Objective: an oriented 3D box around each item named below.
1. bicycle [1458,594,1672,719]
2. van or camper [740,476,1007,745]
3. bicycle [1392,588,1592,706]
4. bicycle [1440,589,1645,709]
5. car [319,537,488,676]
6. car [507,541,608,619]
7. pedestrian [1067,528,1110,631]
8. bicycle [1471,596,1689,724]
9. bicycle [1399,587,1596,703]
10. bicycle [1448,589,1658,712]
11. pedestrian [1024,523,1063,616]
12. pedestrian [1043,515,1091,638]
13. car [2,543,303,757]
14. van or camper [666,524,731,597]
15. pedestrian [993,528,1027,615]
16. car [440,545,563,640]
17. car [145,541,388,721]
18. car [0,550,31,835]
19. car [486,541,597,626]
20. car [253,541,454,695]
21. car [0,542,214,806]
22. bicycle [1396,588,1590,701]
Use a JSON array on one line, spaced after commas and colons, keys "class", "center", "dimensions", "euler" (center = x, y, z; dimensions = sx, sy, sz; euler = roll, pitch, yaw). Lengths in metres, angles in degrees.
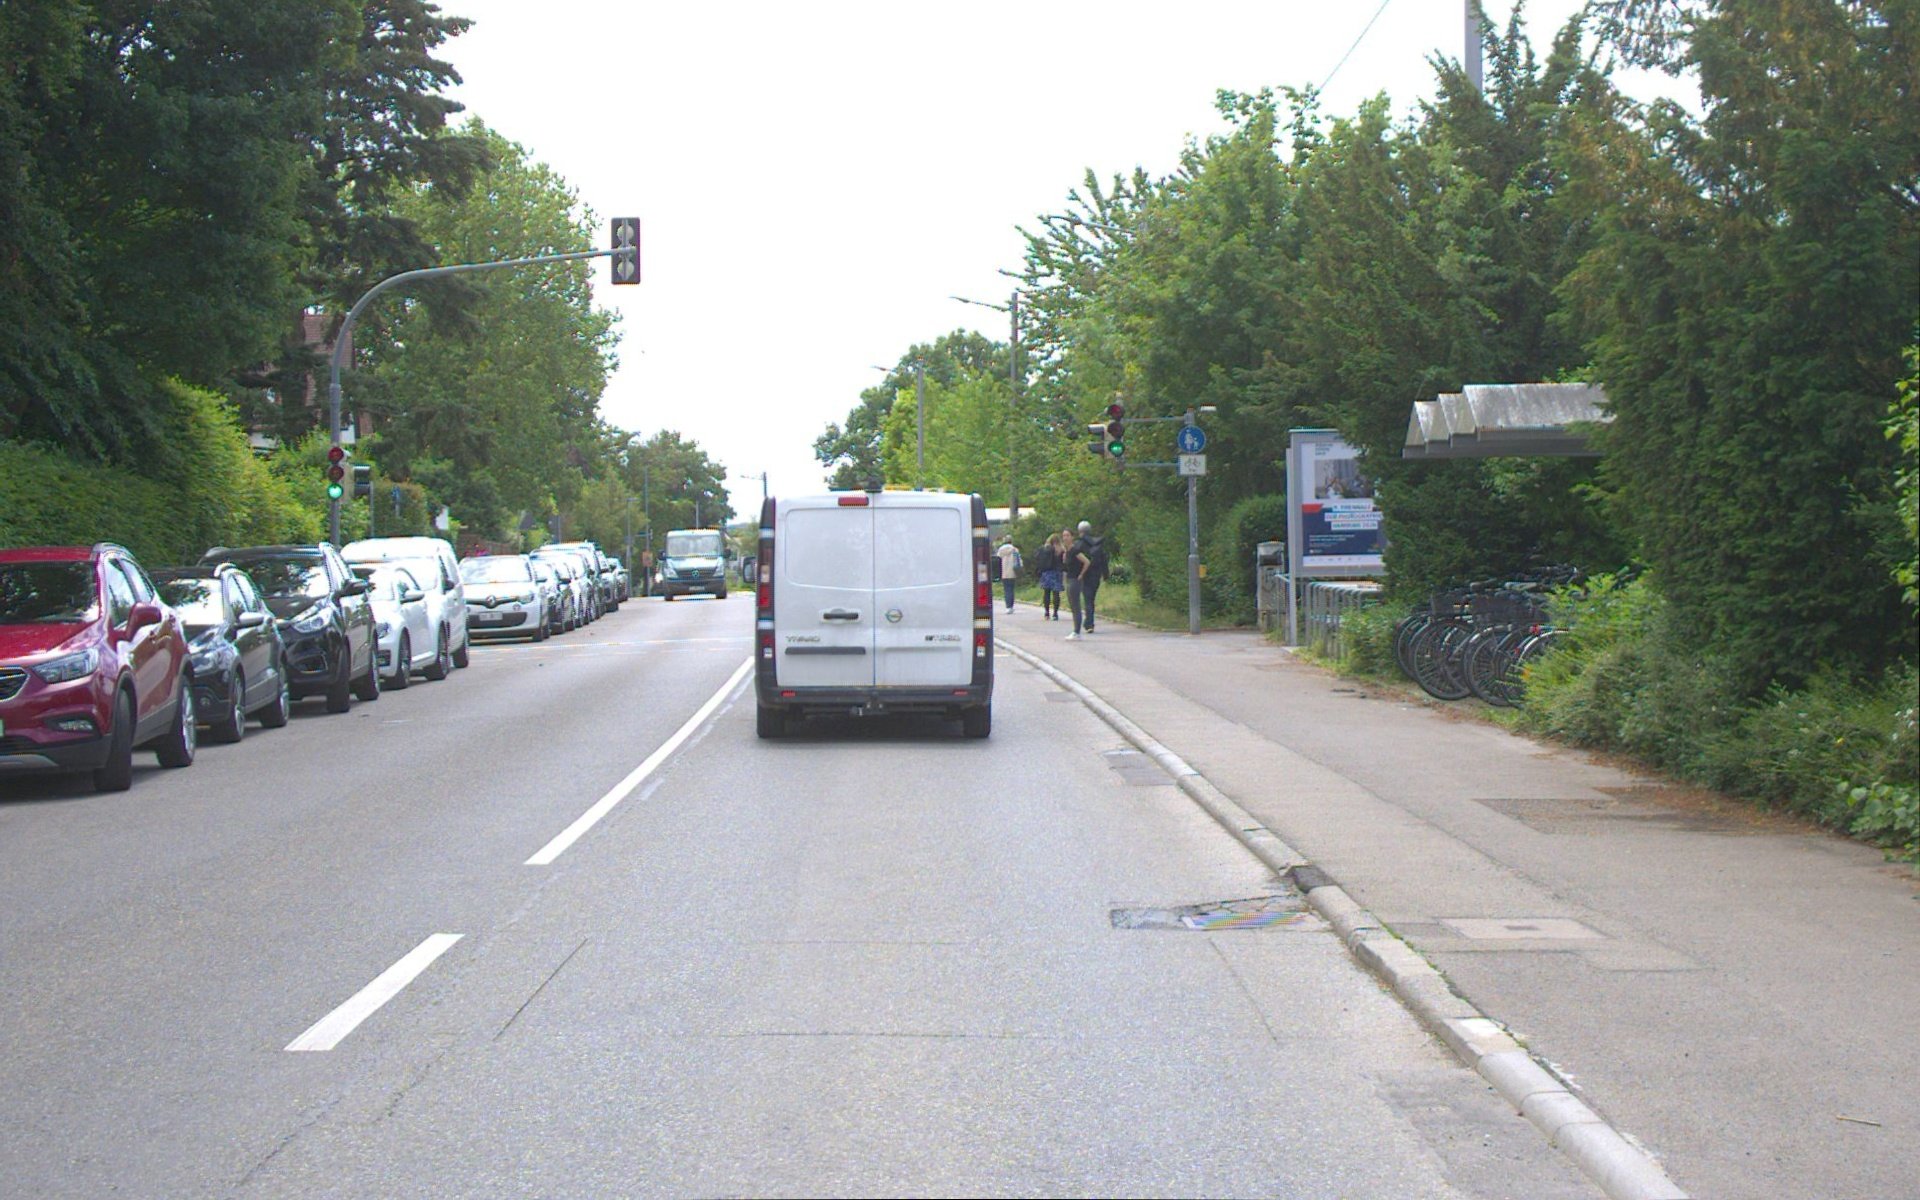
[{"class": "bicycle", "center": [5.067, 0.469, 28.818], "dimensions": [1.698, 1.027, 0.491], "euler": [0, 1, -2]}, {"class": "van or camper", "center": [-0.680, 0.060, 28.212], "dimensions": [1.993, 2.007, 4.446], "euler": [1, 0, -1]}, {"class": "bicycle", "center": [4.737, 0.414, 30.641], "dimensions": [1.698, 1.027, 0.491], "euler": [0, 1, -2]}, {"class": "bicycle", "center": [5.073, 0.423, 29.957], "dimensions": [1.698, 1.027, 0.491], "euler": [0, 1, -2]}, {"class": "car", "center": [-7.509, 0.049, 46.680], "dimensions": [1.761, 1.750, 3.815], "euler": [-2, 1, -2]}, {"class": "car", "center": [-8.825, -0.466, 75.653], "dimensions": [1.780, 1.663, 4.000], "euler": [0, 1, -1]}, {"class": "pedestrian", "center": [2.111, -0.342, 56.422], "dimensions": [0.674, 1.690, 0.522], "euler": [0, 1, 4]}, {"class": "bicycle", "center": [5.089, 0.490, 28.263], "dimensions": [1.698, 1.027, 0.491], "euler": [0, 1, -2]}, {"class": "bicycle", "center": [4.867, 0.406, 31.162], "dimensions": [1.698, 1.027, 0.491], "euler": [0, 1, -2]}, {"class": "bicycle", "center": [5.064, 0.425, 29.393], "dimensions": [1.698, 1.027, 0.491], "euler": [0, 1, -2]}, {"class": "pedestrian", "center": [1.616, -0.597, 66.564], "dimensions": [0.649, 1.800, 0.566], "euler": [0, 1, -12]}, {"class": "pedestrian", "center": [1.620, -0.358, 51.839], "dimensions": [0.680, 1.834, 0.645], "euler": [0, 1, 5]}, {"class": "car", "center": [-6.784, 0.365, 29.253], "dimensions": [1.761, 1.651, 3.815], "euler": [-2, 1, -2]}, {"class": "van or camper", "center": [-8.479, -1.295, 111.757], "dimensions": [2.004, 2.254, 4.613], "euler": [-2, 1, -4]}, {"class": "pedestrian", "center": [1.076, -0.610, 73.435], "dimensions": [0.702, 1.844, 0.666], "euler": [0, 1, -1]}, {"class": "car", "center": [-8.024, -0.159, 60.490], "dimensions": [1.761, 1.551, 3.815], "euler": [-2, 1, -2]}, {"class": "car", "center": [-6.883, 0.263, 34.461], "dimensions": [1.761, 1.651, 3.815], "euler": [-2, 1, -2]}, {"class": "car", "center": [-6.304, 0.577, 18.167], "dimensions": [1.761, 1.620, 4.186], "euler": [-2, 1, -2]}, {"class": "car", "center": [-8.383, -0.360, 69.200], "dimensions": [1.780, 1.663, 4.000], "euler": [0, 1, -1]}, {"class": "car", "center": [-6.997, 0.162, 39.967], "dimensions": [1.761, 1.651, 3.815], "euler": [-2, 1, -2]}, {"class": "car", "center": [-6.430, 0.448, 23.791], "dimensions": [1.761, 1.651, 4.062], "euler": [-2, 1, -2]}, {"class": "bicycle", "center": [4.910, 0.405, 31.713], "dimensions": [1.698, 1.027, 0.491], "euler": [0, 1, -2]}]
